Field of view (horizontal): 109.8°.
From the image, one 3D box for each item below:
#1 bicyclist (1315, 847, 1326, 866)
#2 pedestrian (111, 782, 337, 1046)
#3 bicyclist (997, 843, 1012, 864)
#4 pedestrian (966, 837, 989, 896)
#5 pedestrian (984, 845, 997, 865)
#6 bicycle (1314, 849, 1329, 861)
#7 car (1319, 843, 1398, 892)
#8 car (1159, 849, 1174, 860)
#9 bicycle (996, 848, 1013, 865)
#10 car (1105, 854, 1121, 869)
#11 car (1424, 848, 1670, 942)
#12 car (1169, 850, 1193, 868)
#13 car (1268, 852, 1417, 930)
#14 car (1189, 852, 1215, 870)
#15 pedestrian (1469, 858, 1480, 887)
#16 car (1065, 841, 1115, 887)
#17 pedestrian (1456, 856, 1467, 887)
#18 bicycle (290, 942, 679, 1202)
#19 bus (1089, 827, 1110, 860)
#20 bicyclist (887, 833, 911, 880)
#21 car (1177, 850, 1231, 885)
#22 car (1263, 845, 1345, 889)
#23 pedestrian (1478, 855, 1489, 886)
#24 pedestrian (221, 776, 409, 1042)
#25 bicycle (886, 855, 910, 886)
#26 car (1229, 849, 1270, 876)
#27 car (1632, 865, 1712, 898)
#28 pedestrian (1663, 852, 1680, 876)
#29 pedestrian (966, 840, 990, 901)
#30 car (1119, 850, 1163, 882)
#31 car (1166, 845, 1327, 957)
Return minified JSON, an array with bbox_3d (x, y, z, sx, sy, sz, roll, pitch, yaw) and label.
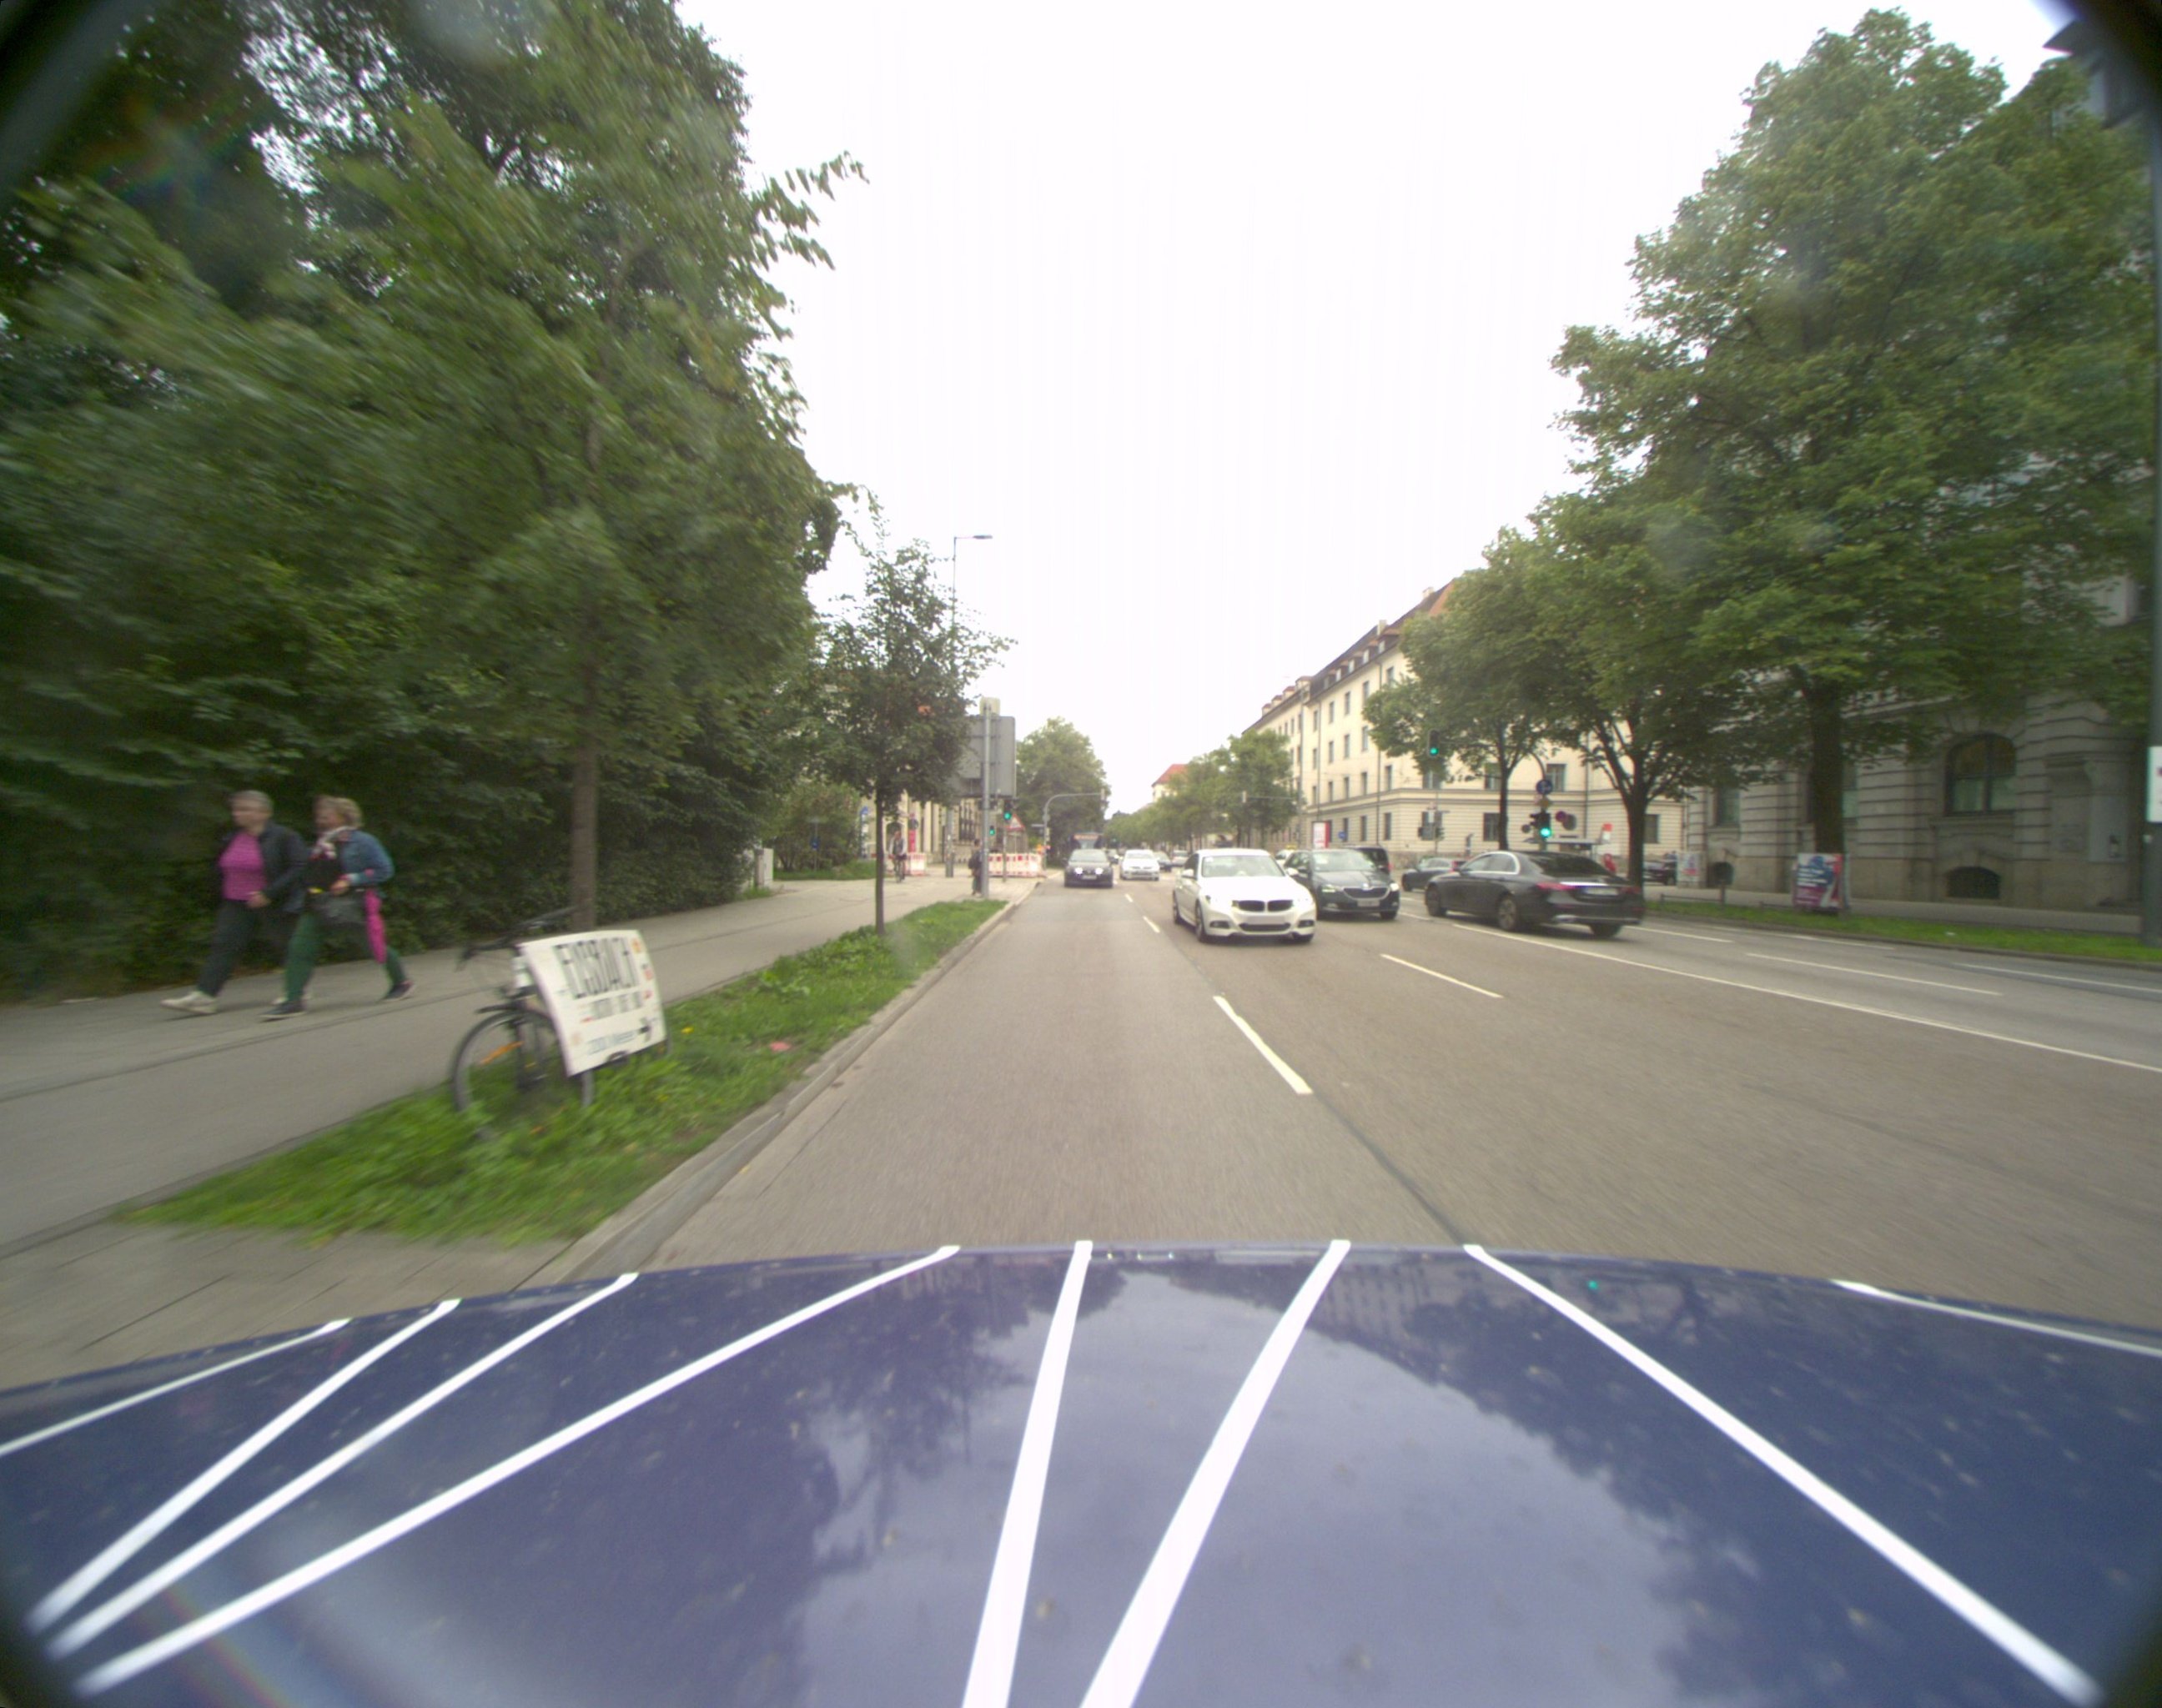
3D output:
[{"bbox_3d":[20.069,0.218,63.680,0.661,1.569,0.892,-1,1,1],"label":"bicyclist"},{"bbox_3d":[-6.316,0.418,5.650,0.753,1.828,0.756,-1,1,1],"label":"pedestrian"},{"bbox_3d":[-4.668,-0.035,46.506,0.808,1.305,0.893,-1,1,0],"label":"bicyclist"},{"bbox_3d":[-3.120,0.382,22.906,0.610,1.751,0.635,1,1,-4],"label":"pedestrian"},{"bbox_3d":[-7.952,0.091,66.735,1.067,1.754,0.774,-1,1,-7],"label":"pedestrian"},{"bbox_3d":[20.084,0.070,63.501,0.663,0.982,2.181,-1,1,1],"label":"bicycle"},{"bbox_3d":[11.580,0.502,32.018,1.832,1.740,4.259,3,2,3],"label":"car"},{"bbox_3d":[12.277,0.007,109.267,1.757,1.521,4.226,0,1,1],"label":"car"},{"bbox_3d":[-4.664,0.140,46.446,0.830,1.001,2.057,-1,1,0],"label":"bicycle"},{"bbox_3d":[3.464,0.755,83.232,1.638,1.562,3.945,1,0,0],"label":"car"},{"bbox_3d":[8.354,0.624,14.251,1.771,1.415,4.747,2,0,2],"label":"car"},{"bbox_3d":[8.990,0.441,68.468,1.638,1.562,3.945,1,0,0],"label":"car"},{"bbox_3d":[5.535,0.706,16.698,1.797,1.439,4.274,1,1,0],"label":"car"},{"bbox_3d":[11.307,0.625,71.449,1.748,1.586,4.000,2,0,0],"label":"car"},{"bbox_3d":[23.822,1.134,46.039,0.502,1.729,0.470,1,1,19],"label":"pedestrian"},{"bbox_3d":[0.337,0.334,29.721,1.797,1.627,4.274,1,1,0],"label":"car"},{"bbox_3d":[23.049,1.055,45.999,0.502,1.844,0.528,1,1,19],"label":"pedestrian"},{"bbox_3d":[-2.855,0.971,3.946,0.494,0.789,1.889,-1,1,1],"label":"bicycle"},{"bbox_3d":[1.474,-0.866,62.976,1.638,2.570,6.701,1,0,0],"label":"bus"},{"bbox_3d":[-6.526,0.086,27.224,0.759,1.657,0.898,-1,1,-11],"label":"bicyclist"},{"bbox_3d":[5.602,0.576,35.093,1.696,1.507,4.338,1,1,-1],"label":"car"},{"bbox_3d":[8.502,0.502,29.418,1.832,1.533,4.824,1,-1,2],"label":"car"},{"bbox_3d":[24.481,1.016,46.222,0.502,1.844,0.470,1,1,19],"label":"pedestrian"},{"bbox_3d":[-5.578,0.382,5.573,0.672,1.828,0.641,-1,1,1],"label":"pedestrian"},{"bbox_3d":[-6.504,0.559,27.129,0.740,1.051,2.160,-1,1,-12],"label":"bicycle"},{"bbox_3d":[11.598,0.544,52.560,1.844,1.646,4.350,2,1,1],"label":"car"},{"bbox_3d":[32.116,1.488,41.302,3.576,1.720,1.691,1,0,-18],"label":"car"},{"bbox_3d":[44.780,0.760,57.598,0.807,1.842,0.660,-1,1,1],"label":"pedestrian"},{"bbox_3d":[-2.980,0.467,21.961,0.626,1.751,0.635,0,1,-4],"label":"pedestrian"},{"bbox_3d":[2.887,0.544,37.172,1.797,1.439,4.274,1,1,0],"label":"car"},{"bbox_3d":[2.741,0.668,13.776,1.797,1.627,5.025,1,1,0],"label":"car"}]
